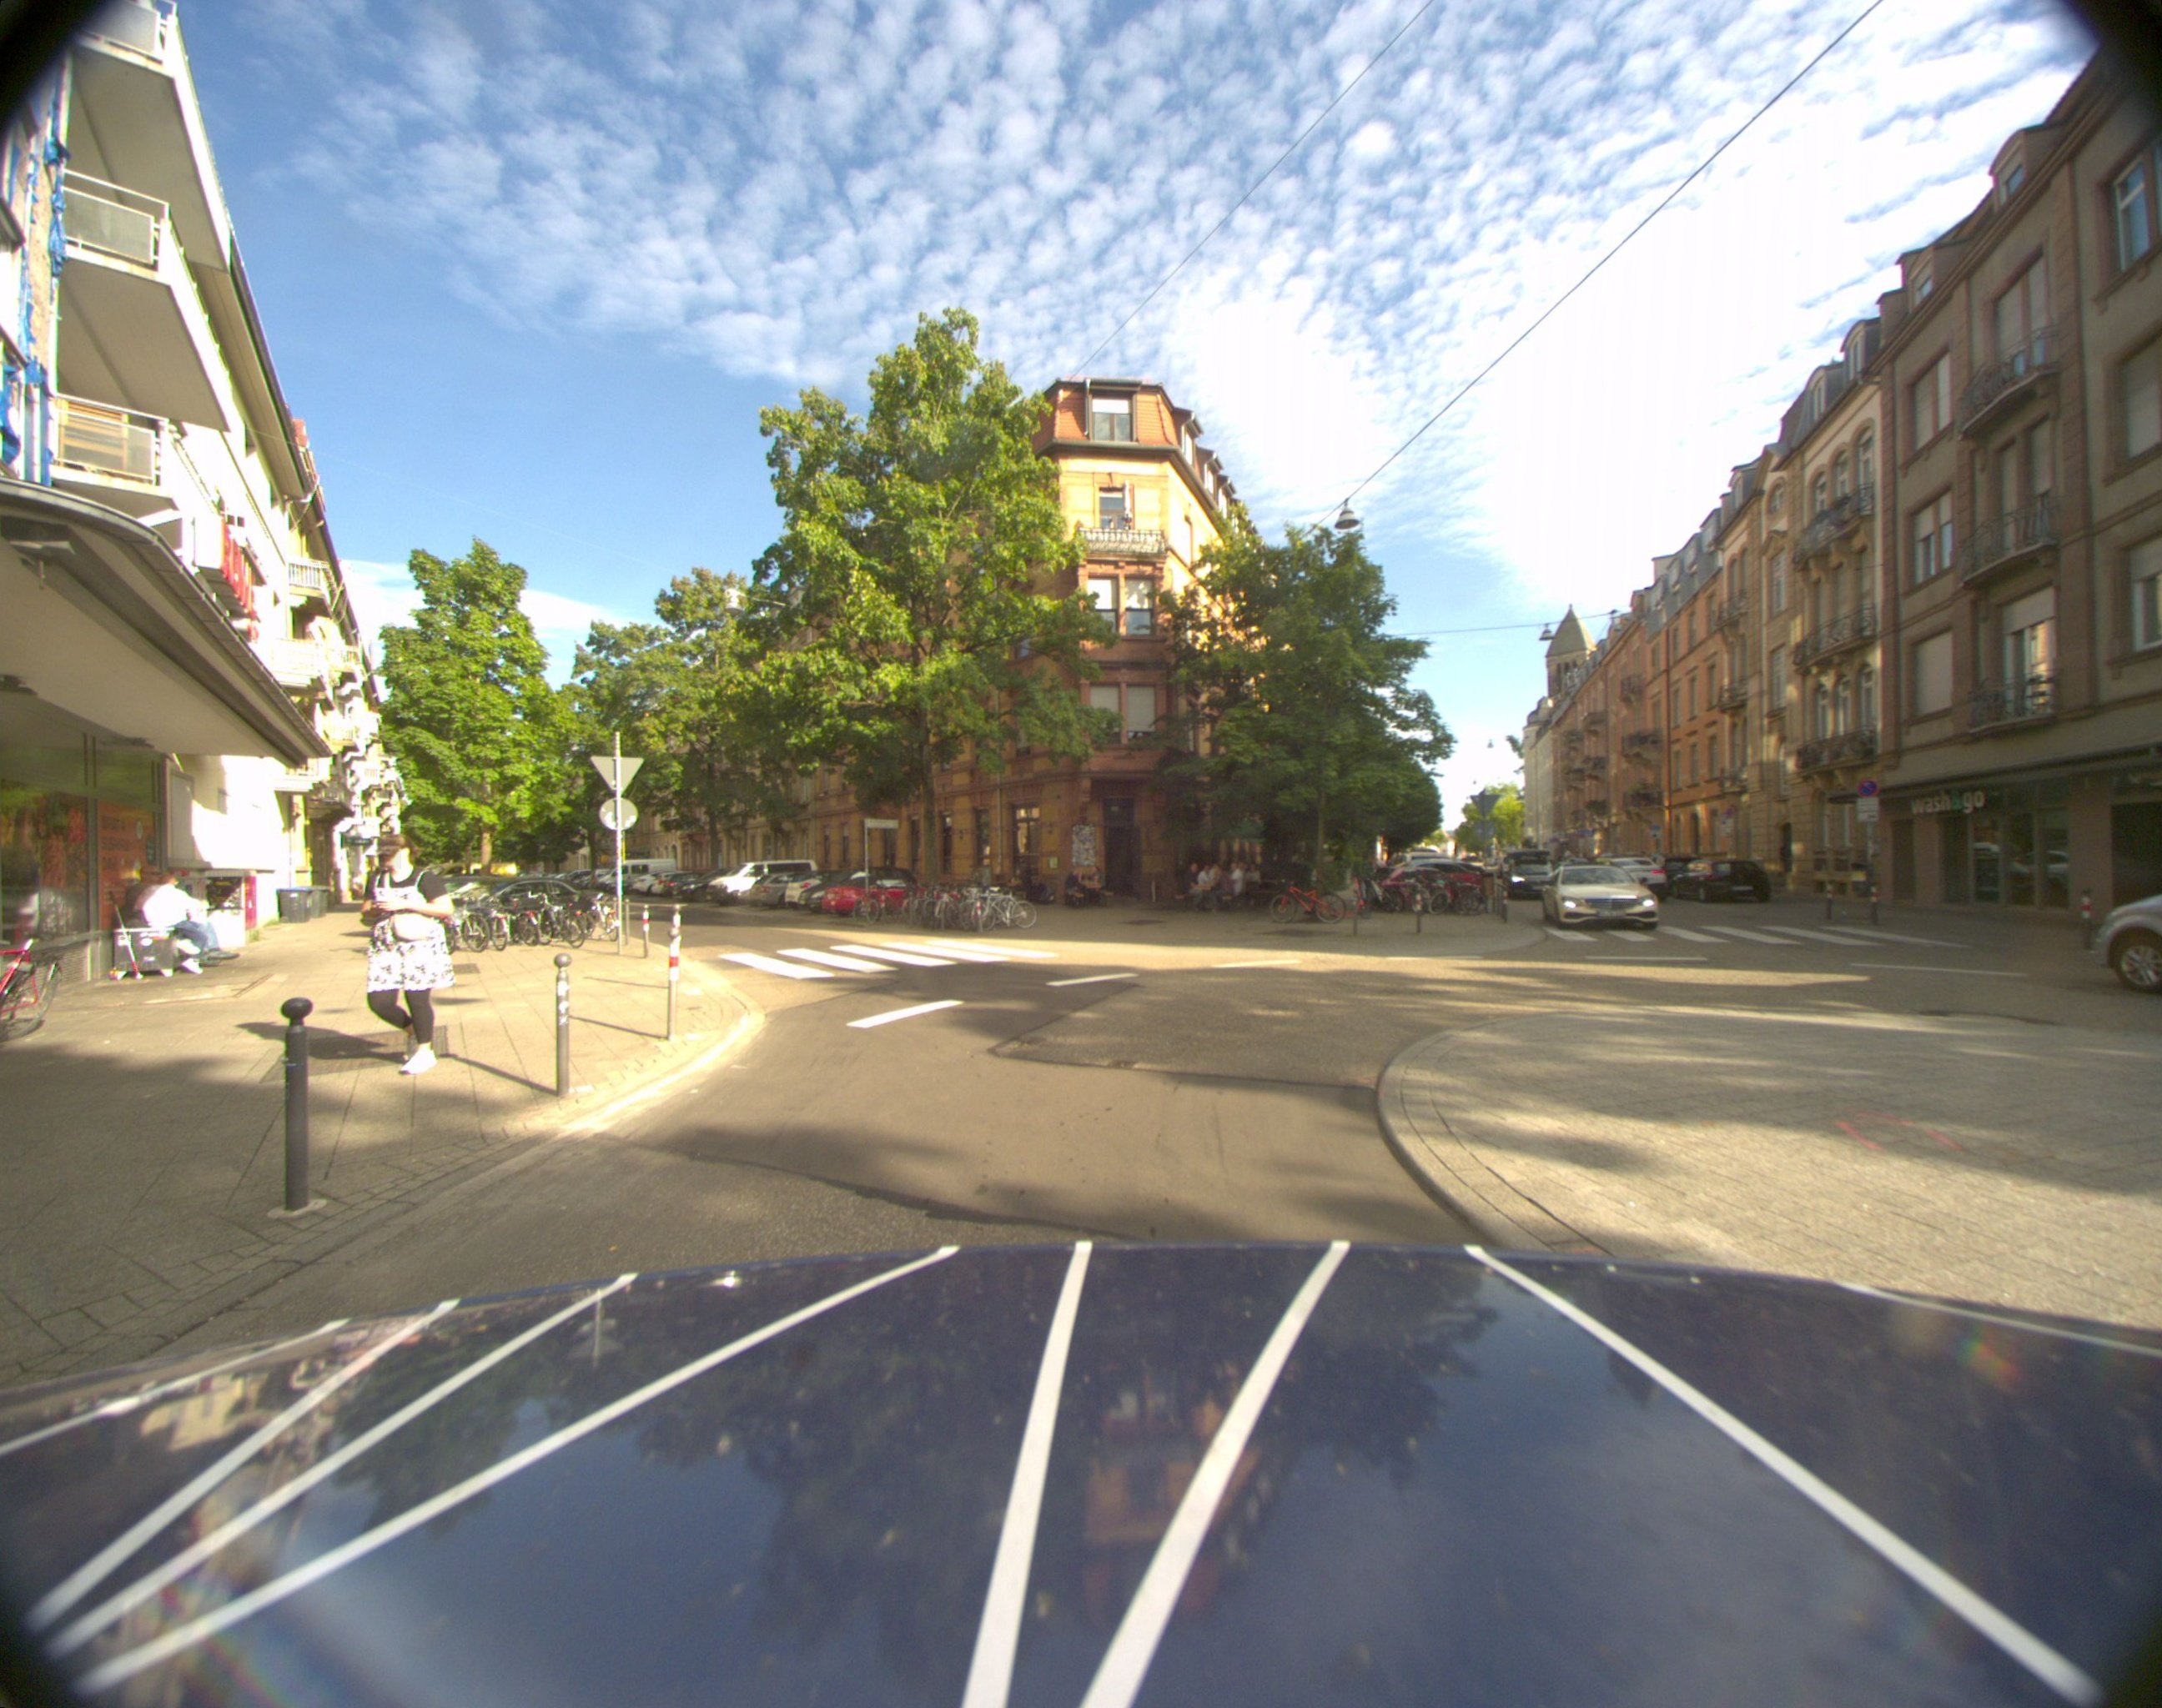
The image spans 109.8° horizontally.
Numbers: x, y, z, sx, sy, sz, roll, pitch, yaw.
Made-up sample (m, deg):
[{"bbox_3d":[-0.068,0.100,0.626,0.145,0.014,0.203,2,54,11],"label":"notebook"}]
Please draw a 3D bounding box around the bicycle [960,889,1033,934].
[{"bbox_3d":[-2.077,1.398,18.718,1.714,0.981,0.447,-2,2,-27],"label":"bicycle"}]

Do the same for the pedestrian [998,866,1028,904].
[{"bbox_3d":[-2.414,1.098,26.956,0.770,1.277,0.627,-4,2,-42],"label":"pedestrian"}]

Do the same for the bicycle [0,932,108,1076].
[{"bbox_3d":[-9.046,1.237,6.347,0.584,1.026,1.532,1,-1,-30],"label":"bicycle"}]

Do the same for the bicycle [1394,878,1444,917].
[{"bbox_3d":[9.596,1.217,21.619,0.418,0.979,1.838,1,1,-6],"label":"bicycle"}]

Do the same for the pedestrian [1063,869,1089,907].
[{"bbox_3d":[-0.162,1.114,25.202,0.642,1.218,0.510,-3,3,-32],"label":"pedestrian"}]

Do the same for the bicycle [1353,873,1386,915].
[{"bbox_3d":[8.231,1.124,21.748,0.433,1.094,1.675,1,1,5],"label":"bicycle"}]

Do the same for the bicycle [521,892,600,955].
[{"bbox_3d":[-10.306,1.351,15.041,1.848,1.169,0.414,-1,-1,25],"label":"bicycle"}]

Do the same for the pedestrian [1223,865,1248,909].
[{"bbox_3d":[4.625,0.977,22.749,0.728,1.307,0.608,0,0,13],"label":"pedestrian"}]

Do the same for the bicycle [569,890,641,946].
[{"bbox_3d":[-10.460,1.389,16.682,1.848,1.169,0.414,-1,-1,25],"label":"bicycle"}]

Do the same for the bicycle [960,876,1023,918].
[{"bbox_3d":[-2.681,1.281,22.826,1.803,1.108,0.598,-3,2,-36],"label":"bicycle"}]

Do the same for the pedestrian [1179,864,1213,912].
[{"bbox_3d":[3.391,0.987,22.501,0.671,1.371,0.715,-2,1,-30],"label":"pedestrian"}]

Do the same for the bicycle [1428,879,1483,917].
[{"bbox_3d":[10.737,1.244,21.854,0.472,0.979,1.864,1,1,-6],"label":"bicycle"}]

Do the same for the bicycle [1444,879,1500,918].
[{"bbox_3d":[11.194,1.263,21.815,0.472,0.979,1.864,1,1,-6],"label":"bicycle"}]

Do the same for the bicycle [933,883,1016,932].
[{"bbox_3d":[-2.699,1.347,19.388,2.048,1.082,0.447,-2,2,-27],"label":"bicycle"}]

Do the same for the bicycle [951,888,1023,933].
[{"bbox_3d":[-2.348,1.394,19.064,1.714,0.981,0.447,-2,2,-27],"label":"bicycle"}]

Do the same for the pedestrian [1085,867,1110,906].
[{"bbox_3d":[0.548,1.073,25.557,0.642,1.252,0.510,-3,3,-32],"label":"pedestrian"}]

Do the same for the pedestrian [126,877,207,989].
[{"bbox_3d":[-13.074,1.095,10.886,0.751,1.497,0.669,-1,0,44],"label":"pedestrian"}]

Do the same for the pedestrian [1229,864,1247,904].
[{"bbox_3d":[5.209,0.989,25.213,0.466,1.319,0.622,-1,1,1],"label":"pedestrian"}]

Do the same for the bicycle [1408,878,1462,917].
[{"bbox_3d":[10.065,1.224,21.662,0.472,0.979,1.864,1,1,-6],"label":"bicycle"}]

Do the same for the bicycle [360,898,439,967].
[{"bbox_3d":[-11.934,1.344,13.293,1.694,1.079,0.422,0,0,27],"label":"bicycle"}]

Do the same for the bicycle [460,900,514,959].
[{"bbox_3d":[-11.146,1.396,14.251,1.498,1.012,0.414,-1,-1,37],"label":"bicycle"}]

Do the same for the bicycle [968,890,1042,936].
[{"bbox_3d":[-1.820,1.406,18.341,1.714,0.964,0.447,-2,2,-27],"label":"bicycle"}]

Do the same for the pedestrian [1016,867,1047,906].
[{"bbox_3d":[-1.713,1.116,26.367,0.770,1.277,0.627,-4,2,-42],"label":"pedestrian"}]

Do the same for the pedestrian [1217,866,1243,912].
[{"bbox_3d":[4.342,1.006,22.160,0.728,1.307,0.521,0,0,13],"label":"pedestrian"}]

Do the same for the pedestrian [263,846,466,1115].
[{"bbox_3d":[-5.006,0.826,5.368,0.613,1.743,0.842,-1,0,0],"label":"pedestrian"}]

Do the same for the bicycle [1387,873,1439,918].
[{"bbox_3d":[9.278,1.130,21.286,0.475,1.136,1.838,1,1,-6],"label":"bicycle"}]

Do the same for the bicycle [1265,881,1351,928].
[{"bbox_3d":[5.350,1.178,17.939,1.852,1.029,0.685,0,0,25],"label":"bicycle"}]

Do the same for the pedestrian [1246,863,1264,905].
[{"bbox_3d":[5.653,0.962,24.712,0.466,1.319,0.622,-1,1,1],"label":"pedestrian"}]

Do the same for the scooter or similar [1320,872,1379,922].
[{"bbox_3d":[6.828,1.070,19.364,0.557,1.203,1.289,2,0,-35],"label":"scooter or similar"}]

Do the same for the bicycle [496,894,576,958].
[{"bbox_3d":[-10.547,1.373,14.700,1.848,1.169,0.414,-1,-1,25],"label":"bicycle"}]

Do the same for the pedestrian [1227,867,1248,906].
[{"bbox_3d":[5.007,1.024,24.346,0.548,1.225,0.622,-1,1,1],"label":"pedestrian"}]

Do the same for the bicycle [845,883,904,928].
[{"bbox_3d":[-5.868,1.430,21.504,0.583,1.090,2.493,-5,3,-39],"label":"bicycle"}]

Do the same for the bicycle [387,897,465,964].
[{"bbox_3d":[-11.672,1.340,13.535,1.694,1.079,0.422,0,0,27],"label":"bicycle"}]

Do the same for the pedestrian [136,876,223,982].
[{"bbox_3d":[-13.570,1.095,11.461,0.755,1.497,0.666,-1,0,-43],"label":"pedestrian"}]

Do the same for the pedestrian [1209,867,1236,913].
[{"bbox_3d":[4.044,1.023,21.694,0.728,1.307,0.521,0,0,13],"label":"pedestrian"}]

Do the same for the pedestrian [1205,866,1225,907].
[{"bbox_3d":[4.339,1.051,24.572,0.548,1.293,0.622,-1,1,1],"label":"pedestrian"}]

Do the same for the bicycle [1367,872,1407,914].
[{"bbox_3d":[8.749,1.106,21.758,0.475,1.094,1.675,1,1,1],"label":"bicycle"}]

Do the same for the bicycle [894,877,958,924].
[{"bbox_3d":[-4.409,1.316,21.712,1.715,1.195,0.447,-3,2,-36],"label":"bicycle"}]
